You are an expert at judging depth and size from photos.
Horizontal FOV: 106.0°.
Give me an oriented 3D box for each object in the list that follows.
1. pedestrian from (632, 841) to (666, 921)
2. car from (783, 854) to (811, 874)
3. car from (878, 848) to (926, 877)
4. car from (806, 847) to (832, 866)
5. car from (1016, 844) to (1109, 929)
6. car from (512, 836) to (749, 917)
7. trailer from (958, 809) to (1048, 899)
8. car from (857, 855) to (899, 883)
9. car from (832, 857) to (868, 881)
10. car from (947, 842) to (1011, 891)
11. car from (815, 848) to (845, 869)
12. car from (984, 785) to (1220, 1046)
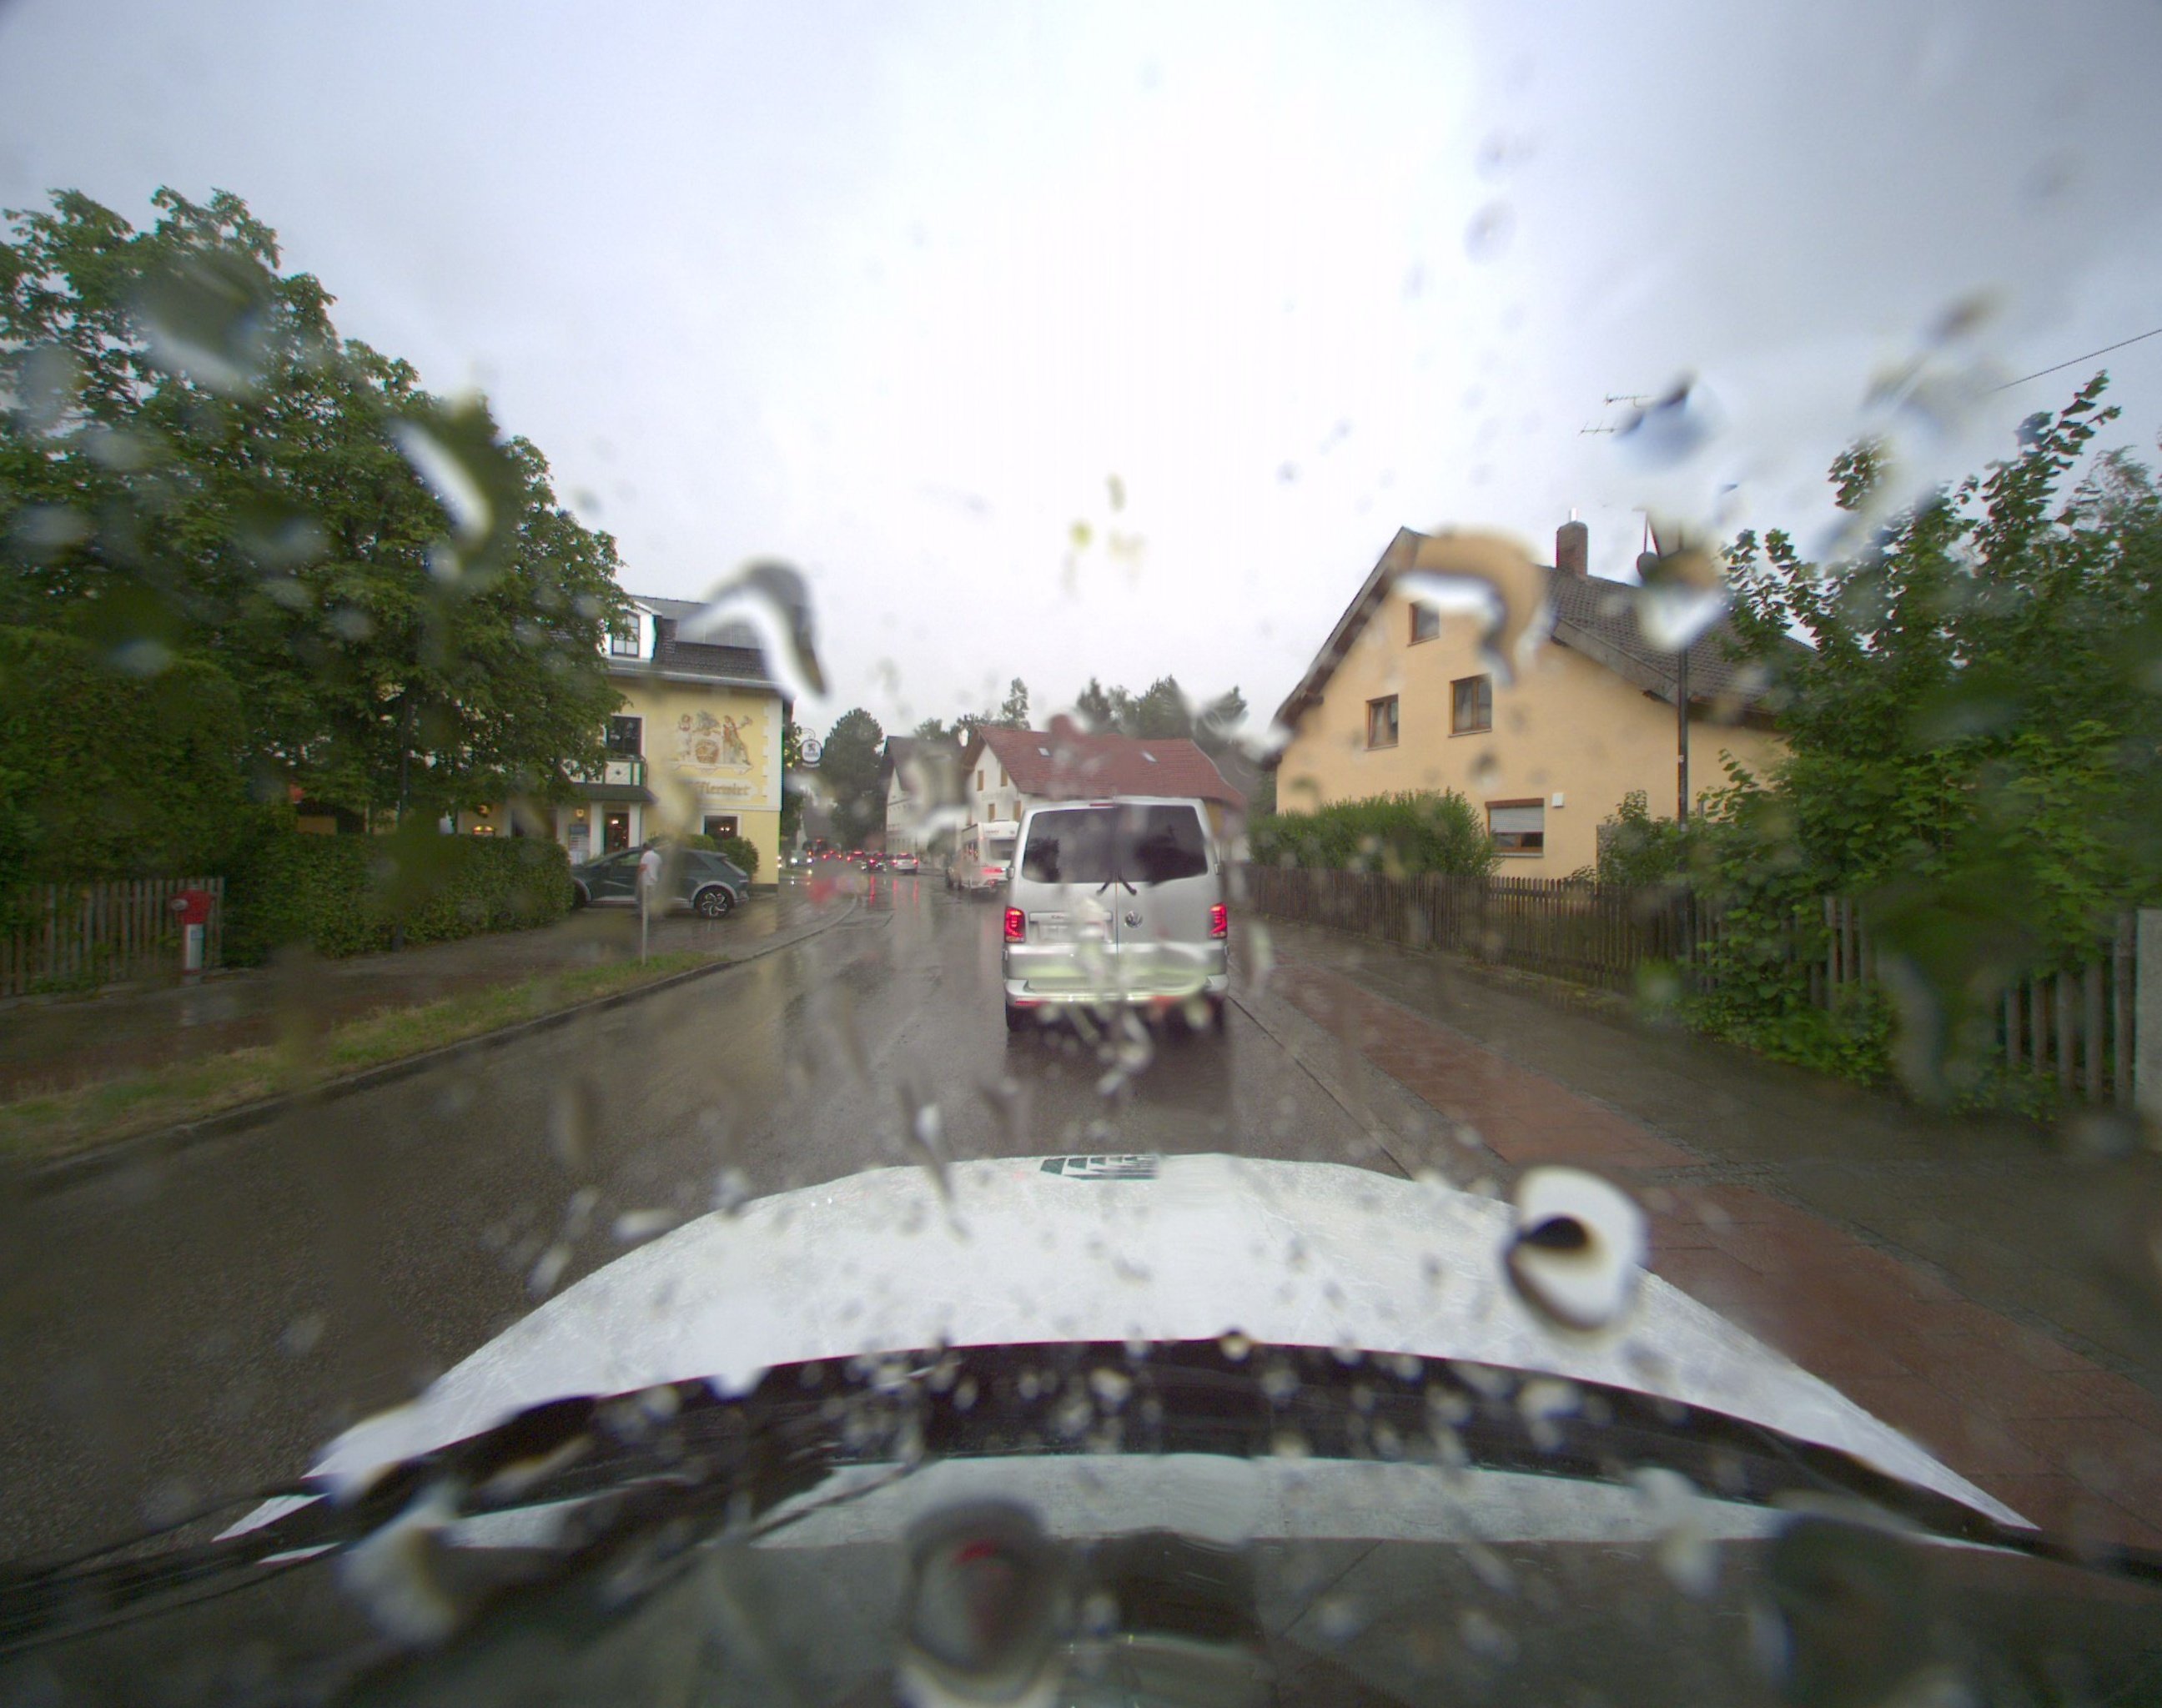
[{"bbox_3d":[-9.367,0.583,17.652,0.555,1.690,0.488,4,-1,-30],"label":"pedestrian"},{"bbox_3d":[-25.917,0.913,74.295,1.932,1.744,4.157,-1,0,-25],"label":"car"},{"bbox_3d":[-12.231,0.599,55.336,2.179,1.899,4.973,1,-1,-25],"label":"car"},{"bbox_3d":[-29.187,0.257,90.506,2.179,1.899,4.974,1,0,-25],"label":"car"},{"bbox_3d":[-0.543,0.599,18.218,1.706,1.584,4.677,-2,1,-5],"label":"car"},{"bbox_3d":[-10.200,0.532,18.812,4.499,1.567,1.824,4,1,-27],"label":"car"},{"bbox_3d":[-2.958,-0.009,29.371,2.275,2.904,6.101,-1,0,-15],"label":"trailer"},{"bbox_3d":[-15.230,1.079,61.005,2.179,1.899,4.974,1,0,-25],"label":"car"},{"bbox_3d":[-19.754,1.243,69.570,2.179,1.899,4.974,1,0,-25],"label":"car"},{"bbox_3d":[-4.453,0.505,34.803,2.057,1.899,5.149,-1,0,-15],"label":"car"},{"bbox_3d":[-24.678,0.428,79.956,2.179,1.899,4.974,1,0,-25],"label":"car"},{"bbox_3d":[0.256,0.473,8.756,1.769,1.962,5.077,-1,0,2],"label":"car"}]
